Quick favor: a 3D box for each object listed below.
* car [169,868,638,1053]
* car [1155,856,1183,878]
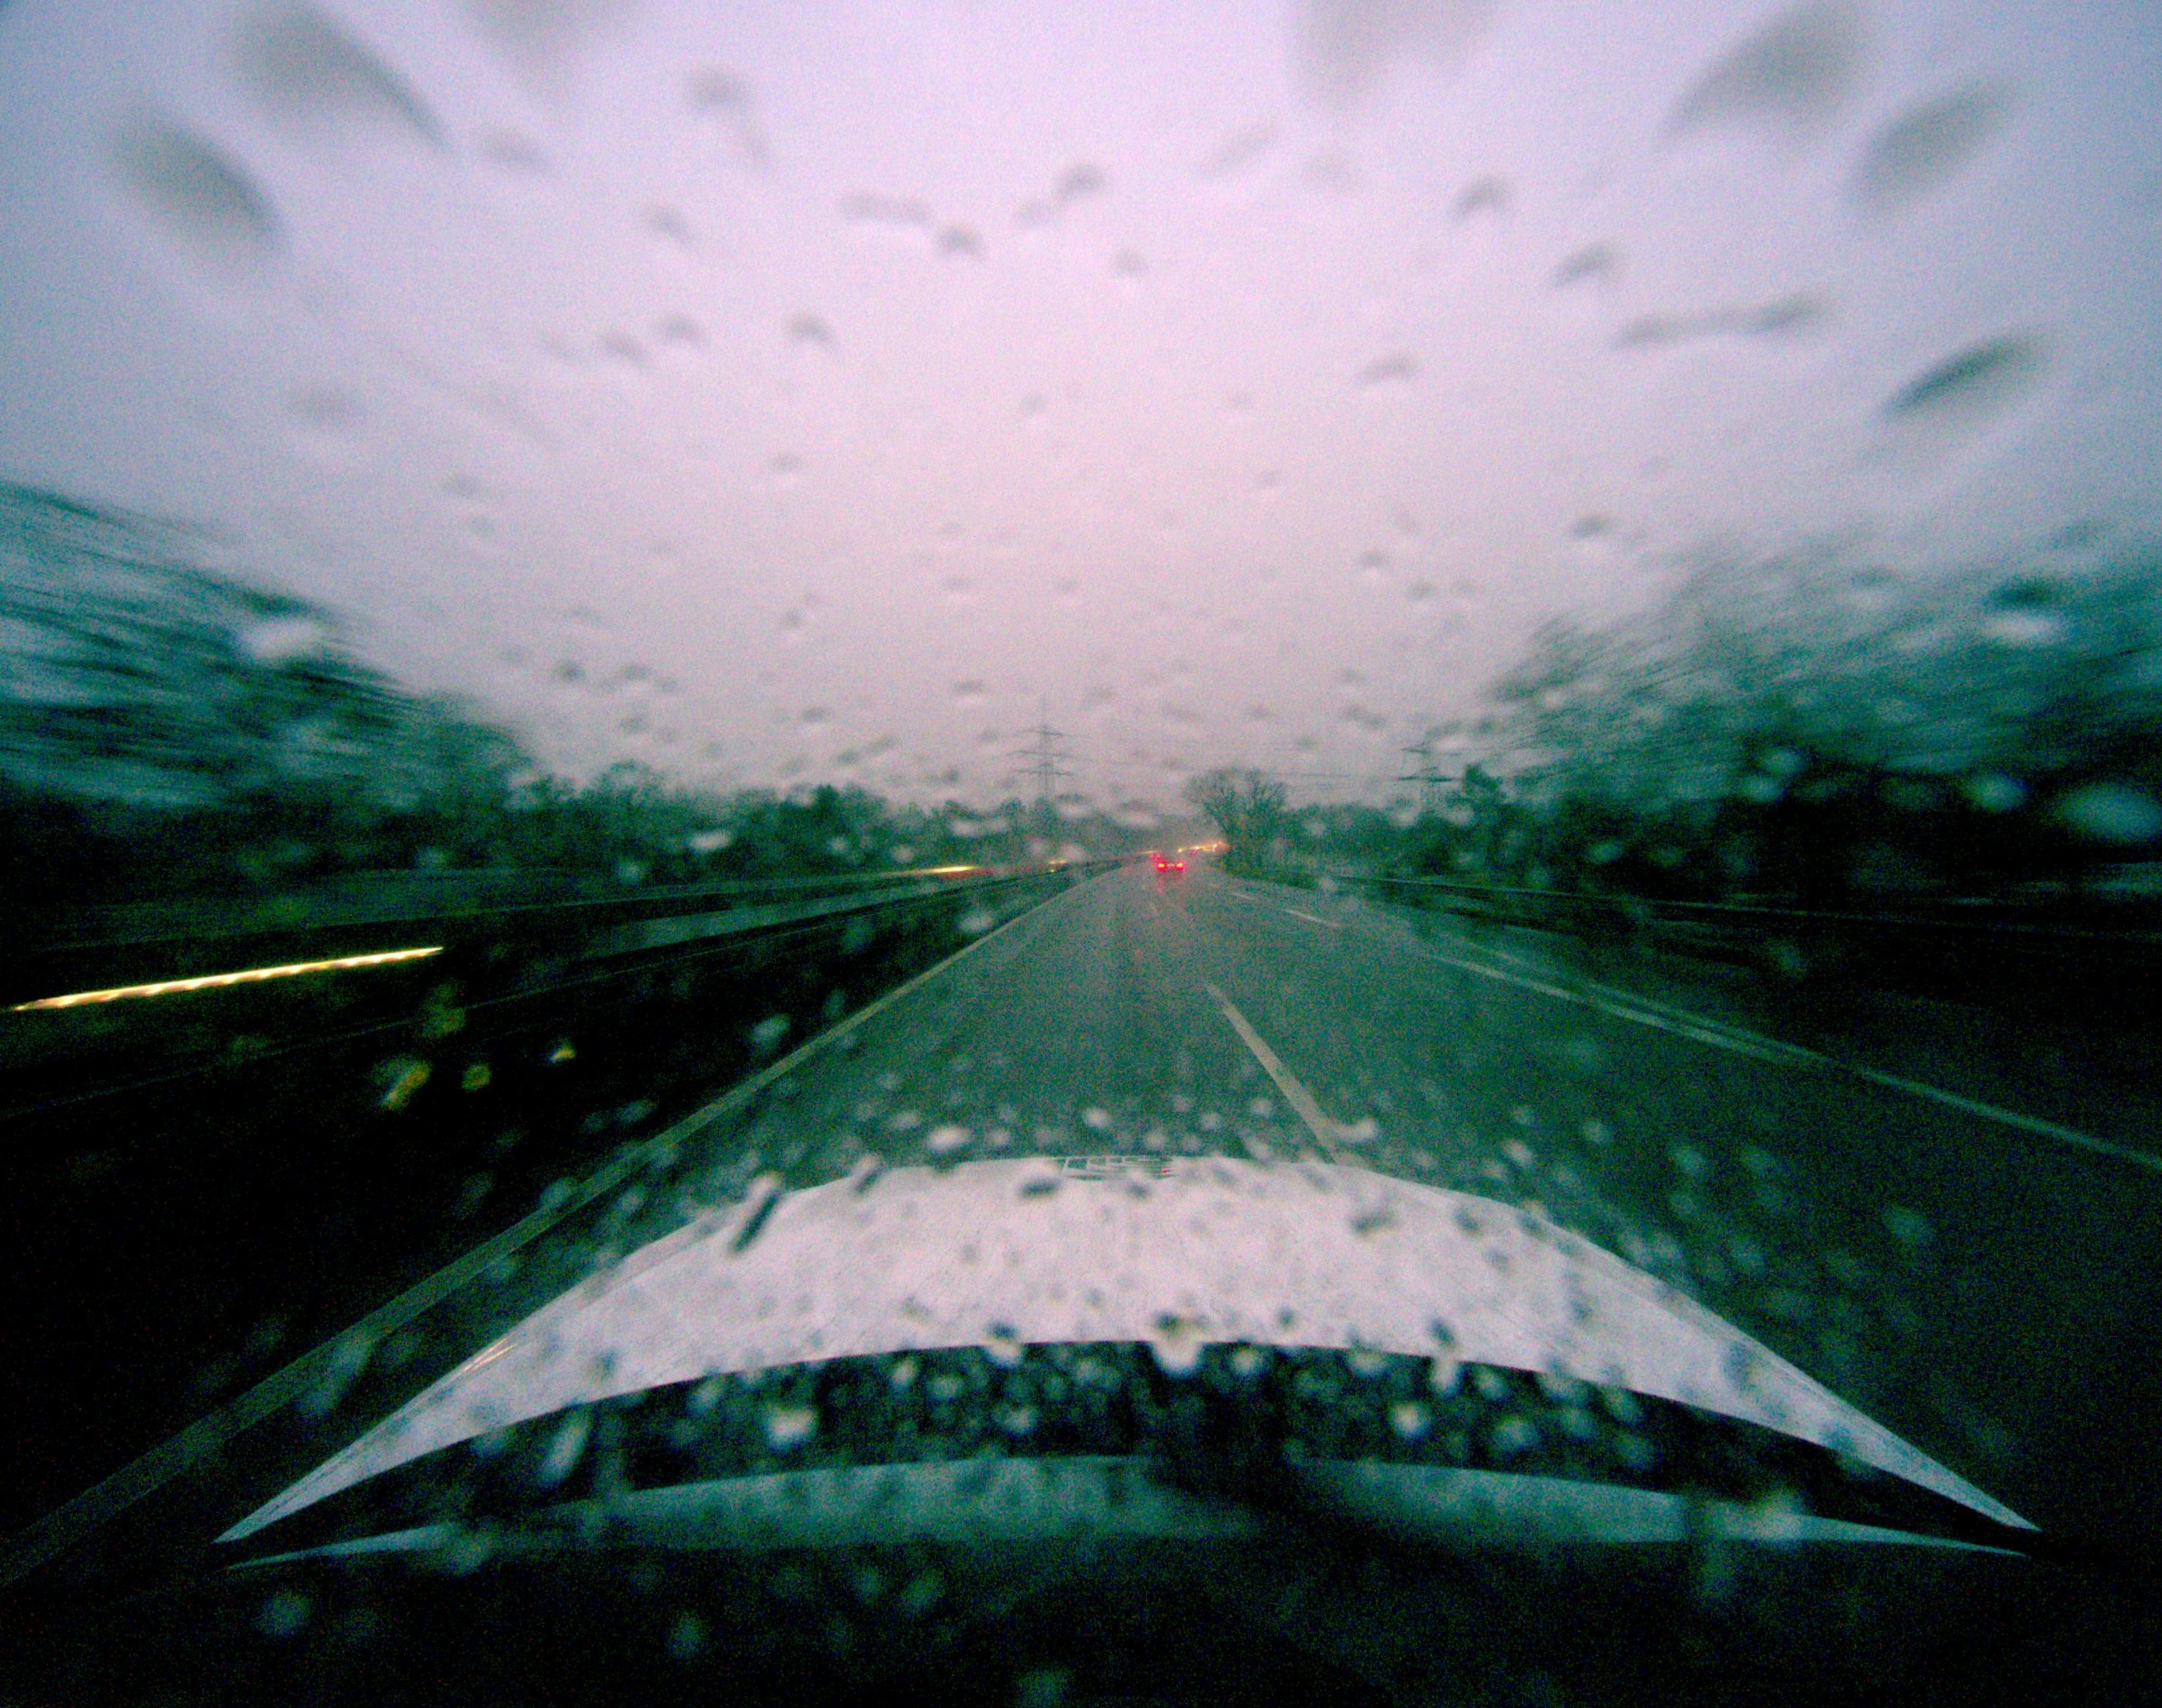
[{"bbox_3d":[-7.695,1.060,10.020,1.871,1.423,4.425,-9,0,0],"label":"car"},{"bbox_3d":[6.554,0.955,60.522,1.667,1.508,3.821,-1,1,11],"label":"car"}]
